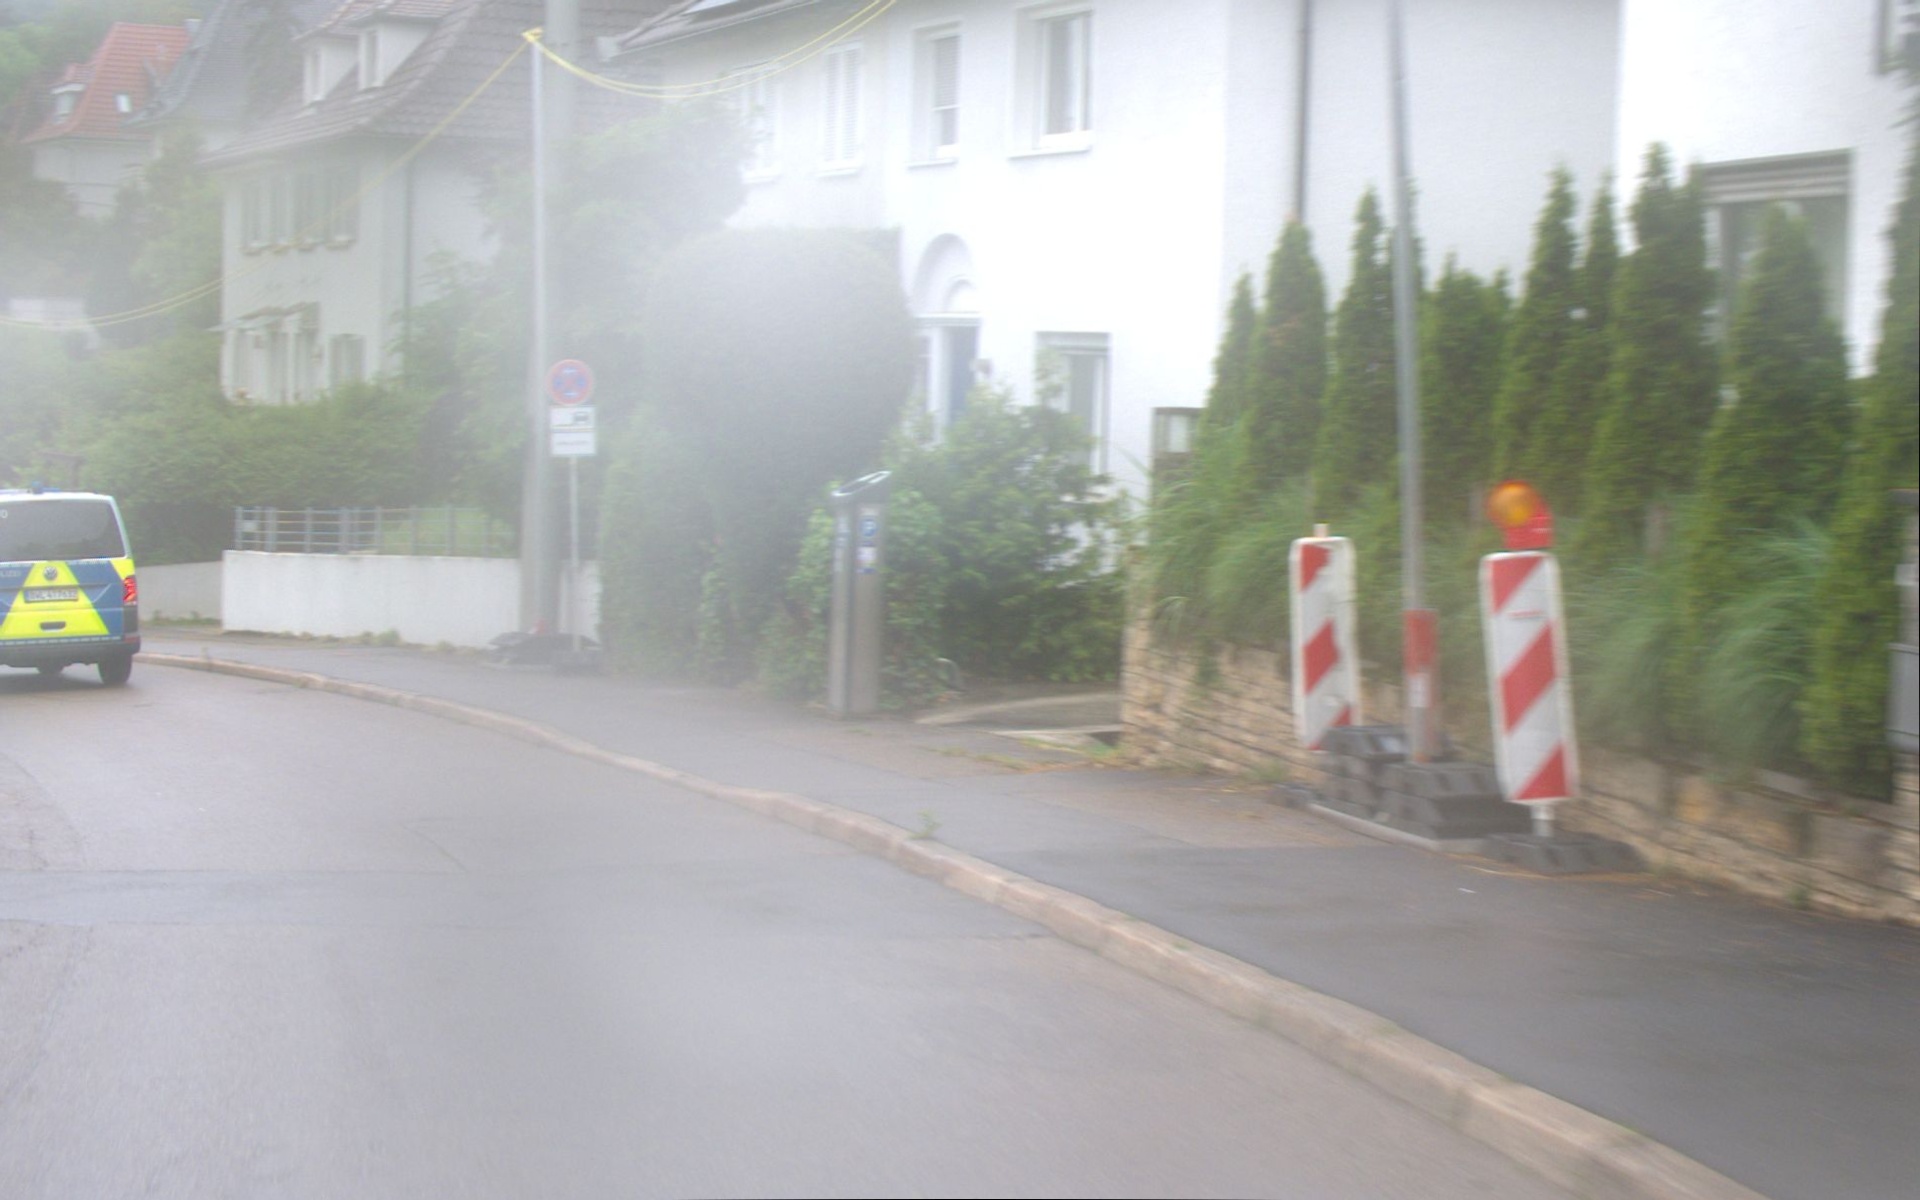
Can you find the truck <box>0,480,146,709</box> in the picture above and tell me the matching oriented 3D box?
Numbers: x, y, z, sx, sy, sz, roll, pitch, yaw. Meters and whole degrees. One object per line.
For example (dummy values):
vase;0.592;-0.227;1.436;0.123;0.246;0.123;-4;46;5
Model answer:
truck;-9.850;-0.127;35.276;1.993;2.006;4.736;-2;5;-25
